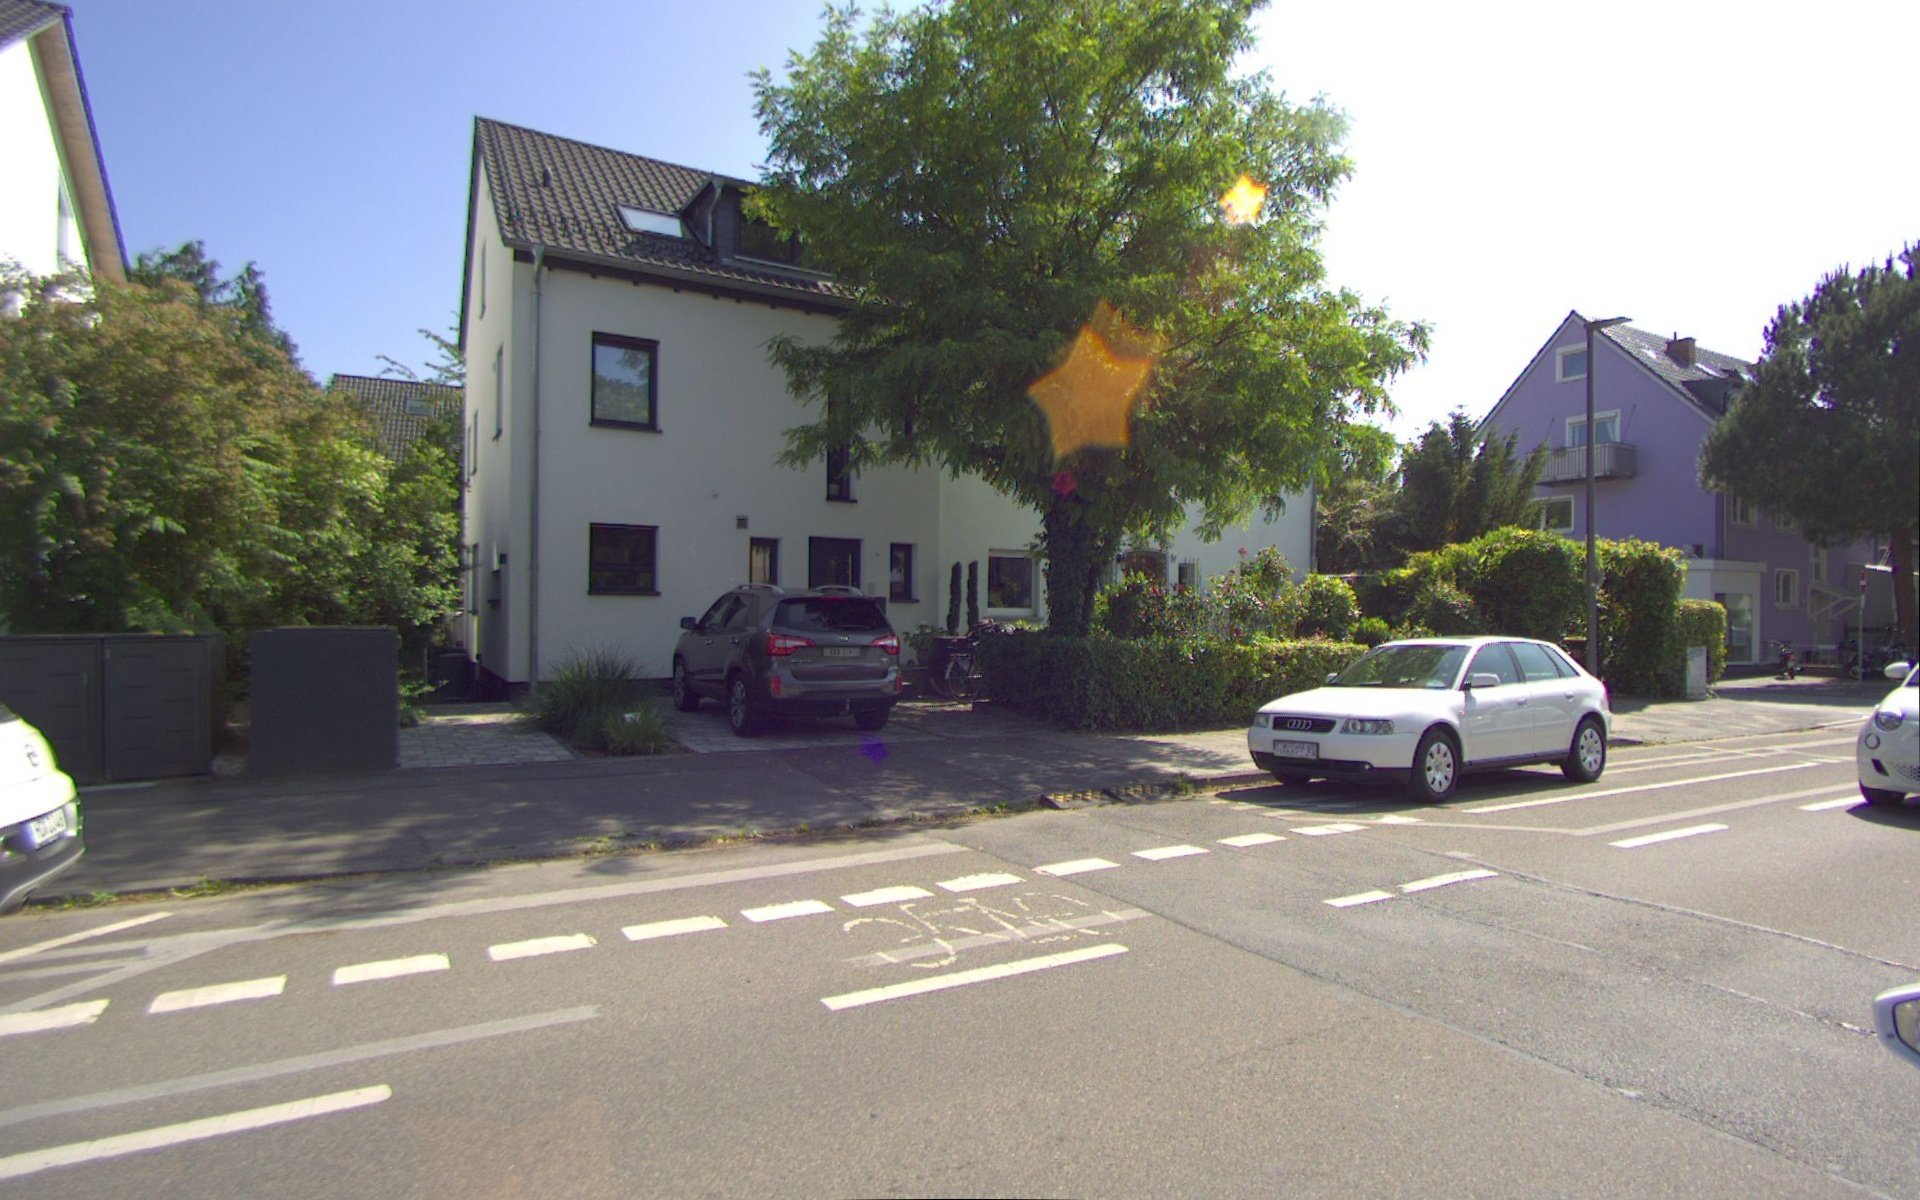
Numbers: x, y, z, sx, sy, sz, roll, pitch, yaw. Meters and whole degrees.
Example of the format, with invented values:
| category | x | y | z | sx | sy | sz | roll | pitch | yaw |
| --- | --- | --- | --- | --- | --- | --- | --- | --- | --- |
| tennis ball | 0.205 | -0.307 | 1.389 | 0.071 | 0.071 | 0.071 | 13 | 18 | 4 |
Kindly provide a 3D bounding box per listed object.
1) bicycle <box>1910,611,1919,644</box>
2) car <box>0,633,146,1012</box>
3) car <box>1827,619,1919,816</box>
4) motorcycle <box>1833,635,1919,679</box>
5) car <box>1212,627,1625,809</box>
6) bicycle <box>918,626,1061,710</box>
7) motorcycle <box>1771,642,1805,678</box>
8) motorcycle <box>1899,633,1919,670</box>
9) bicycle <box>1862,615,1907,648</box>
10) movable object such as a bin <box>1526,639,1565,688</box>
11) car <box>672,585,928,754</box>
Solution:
| category | x | y | z | sx | sy | sz | roll | pitch | yaw |
| --- | --- | --- | --- | --- | --- | --- | --- | --- | --- |
| bicycle | 35.406 | 1.016 | 36.690 | 1.427 | 1.197 | 0.535 | 2 | 0 | -27 |
| car | -5.753 | 0.847 | 3.726 | 3.953 | 1.459 | 1.777 | 1 | -3 | -30 |
| car | 9.433 | 0.987 | 8.754 | 3.954 | 1.561 | 1.723 | 2 | -2 | -31 |
| motorcycle | 27.129 | 1.659 | 29.721 | 0.634 | 1.197 | 1.834 | 2 | -1 | -24 |
| car | 4.563 | 1.051 | 9.892 | 3.955 | 1.458 | 1.777 | 2 | -4 | -31 |
| bicycle | 0.486 | 1.045 | 15.814 | 2.225 | 1.224 | 0.688 | 1 | -1 | -30 |
| motorcycle | 25.447 | 1.830 | 30.892 | 0.632 | 1.004 | 2.347 | 1 | 0 | 36 |
| motorcycle | 31.399 | 1.686 | 32.819 | 1.427 | 1.197 | 0.535 | 2 | 0 | -25 |
| bicycle | 34.044 | 1.146 | 36.985 | 1.422 | 1.197 | 0.537 | -1 | 1 | -16 |
| movable object such as a bin | 12.501 | 1.356 | 21.454 | 0.519 | 1.004 | 0.484 | 2 | 0 | -10 |
| car | -2.207 | 0.739 | 12.844 | 1.976 | 1.783 | 3.969 | 1 | 0 | -29 |
